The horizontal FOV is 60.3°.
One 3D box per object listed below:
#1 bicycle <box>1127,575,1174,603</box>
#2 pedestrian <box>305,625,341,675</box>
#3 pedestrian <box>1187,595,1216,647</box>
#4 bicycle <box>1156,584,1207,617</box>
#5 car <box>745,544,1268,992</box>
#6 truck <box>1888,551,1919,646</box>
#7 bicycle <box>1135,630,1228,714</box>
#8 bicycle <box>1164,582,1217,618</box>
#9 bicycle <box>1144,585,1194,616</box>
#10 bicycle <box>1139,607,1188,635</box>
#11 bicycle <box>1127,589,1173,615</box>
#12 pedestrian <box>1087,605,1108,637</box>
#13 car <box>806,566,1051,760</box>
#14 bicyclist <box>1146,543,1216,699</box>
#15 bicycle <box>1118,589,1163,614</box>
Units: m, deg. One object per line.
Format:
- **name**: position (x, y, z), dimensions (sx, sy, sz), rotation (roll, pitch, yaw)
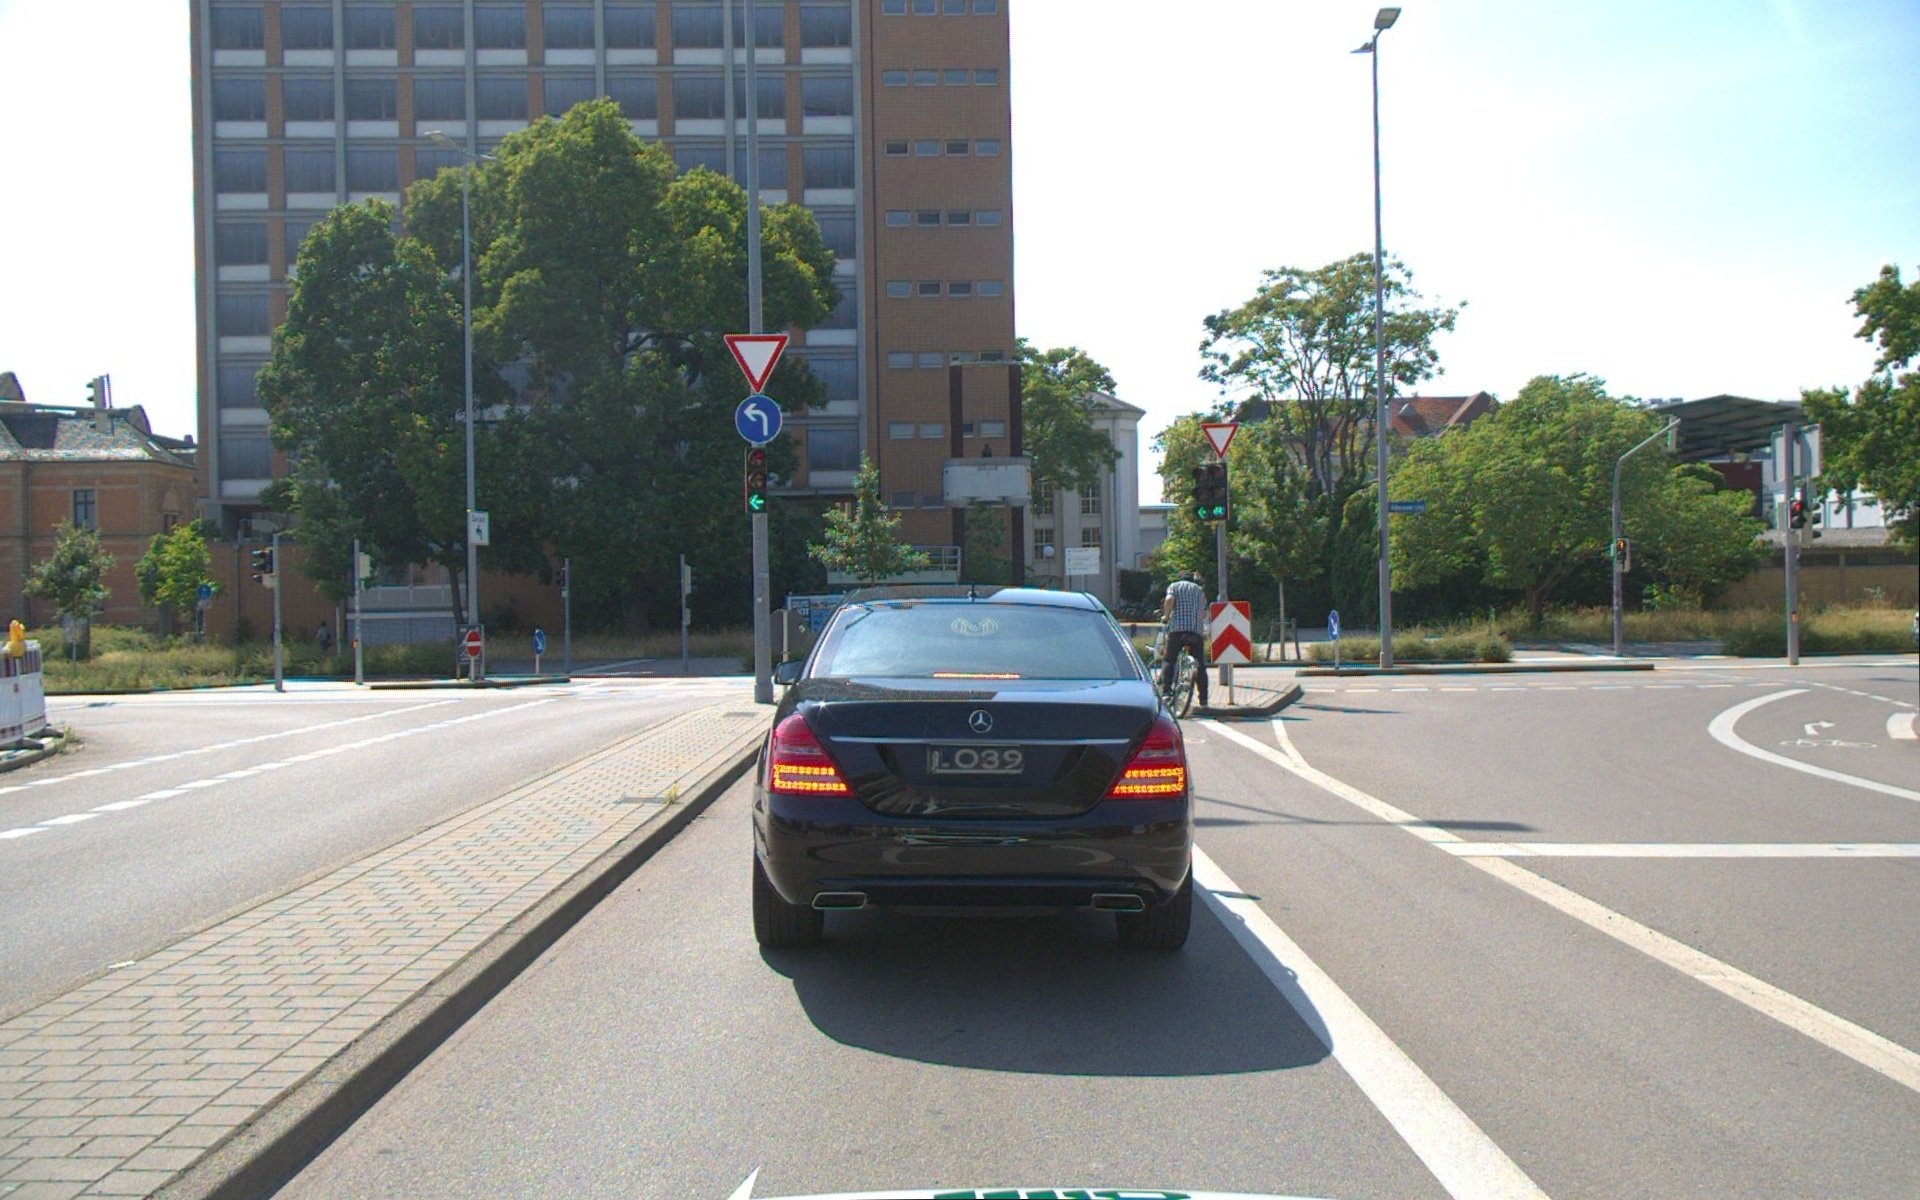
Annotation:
- **bicycle**: position (11.747, -0.672, 101.952), dimensions (2.766, 1.586, 0.841), rotation (-2, 0, -2)
- **pedestrian**: position (-22.554, 1.763, 58.563), dimensions (0.781, 1.756, 0.873), rotation (-2, -1, 22)
- **pedestrian**: position (7.640, 0.661, 52.358), dimensions (0.794, 1.607, 0.692), rotation (-1, -1, 1)
- **bicycle**: position (12.589, 0.016, 94.028), dimensions (2.766, 1.775, 0.841), rotation (-2, 0, -2)
- **car**: position (0.116, 0.602, 8.154), dimensions (1.821, 1.557, 4.712), rotation (1, 0, -1)
- **truck**: position (27.702, -0.133, 41.965), dimensions (6.881, 2.397, 2.413), rotation (-2, -2, 0)
- **bicycle**: position (2.742, 0.880, 20.653), dimensions (0.679, 0.963, 1.955), rotation (1, 0, -7)
- **bicycle**: position (12.756, -0.005, 91.713), dimensions (2.766, 1.868, 0.841), rotation (-2, 0, -2)
- **bicycle**: position (12.199, 0.042, 96.508), dimensions (2.766, 1.688, 0.841), rotation (-2, 1, -2)
- **bicycle**: position (12.114, 1.249, 98.512), dimensions (2.766, 1.564, 0.841), rotation (-2, 0, -2)
- **bicycle**: position (12.012, 0.123, 104.723), dimensions (2.766, 1.526, 0.841), rotation (-2, 0, -2)
- **pedestrian**: position (5.289, 0.806, 63.806), dimensions (0.776, 1.235, 0.758), rotation (1, 0, 6)
- **car**: position (-0.282, 0.519, 15.375), dimensions (1.953, 1.534, 3.999), rotation (1, 0, -1)
- **bicyclist**: position (2.746, 0.258, 20.640), dimensions (0.673, 1.911, 0.858), rotation (0, 0, -7)
- **bicycle**: position (11.569, 0.122, 106.274), dimensions (2.765, 1.506, 0.841), rotation (-2, 0, 0)
